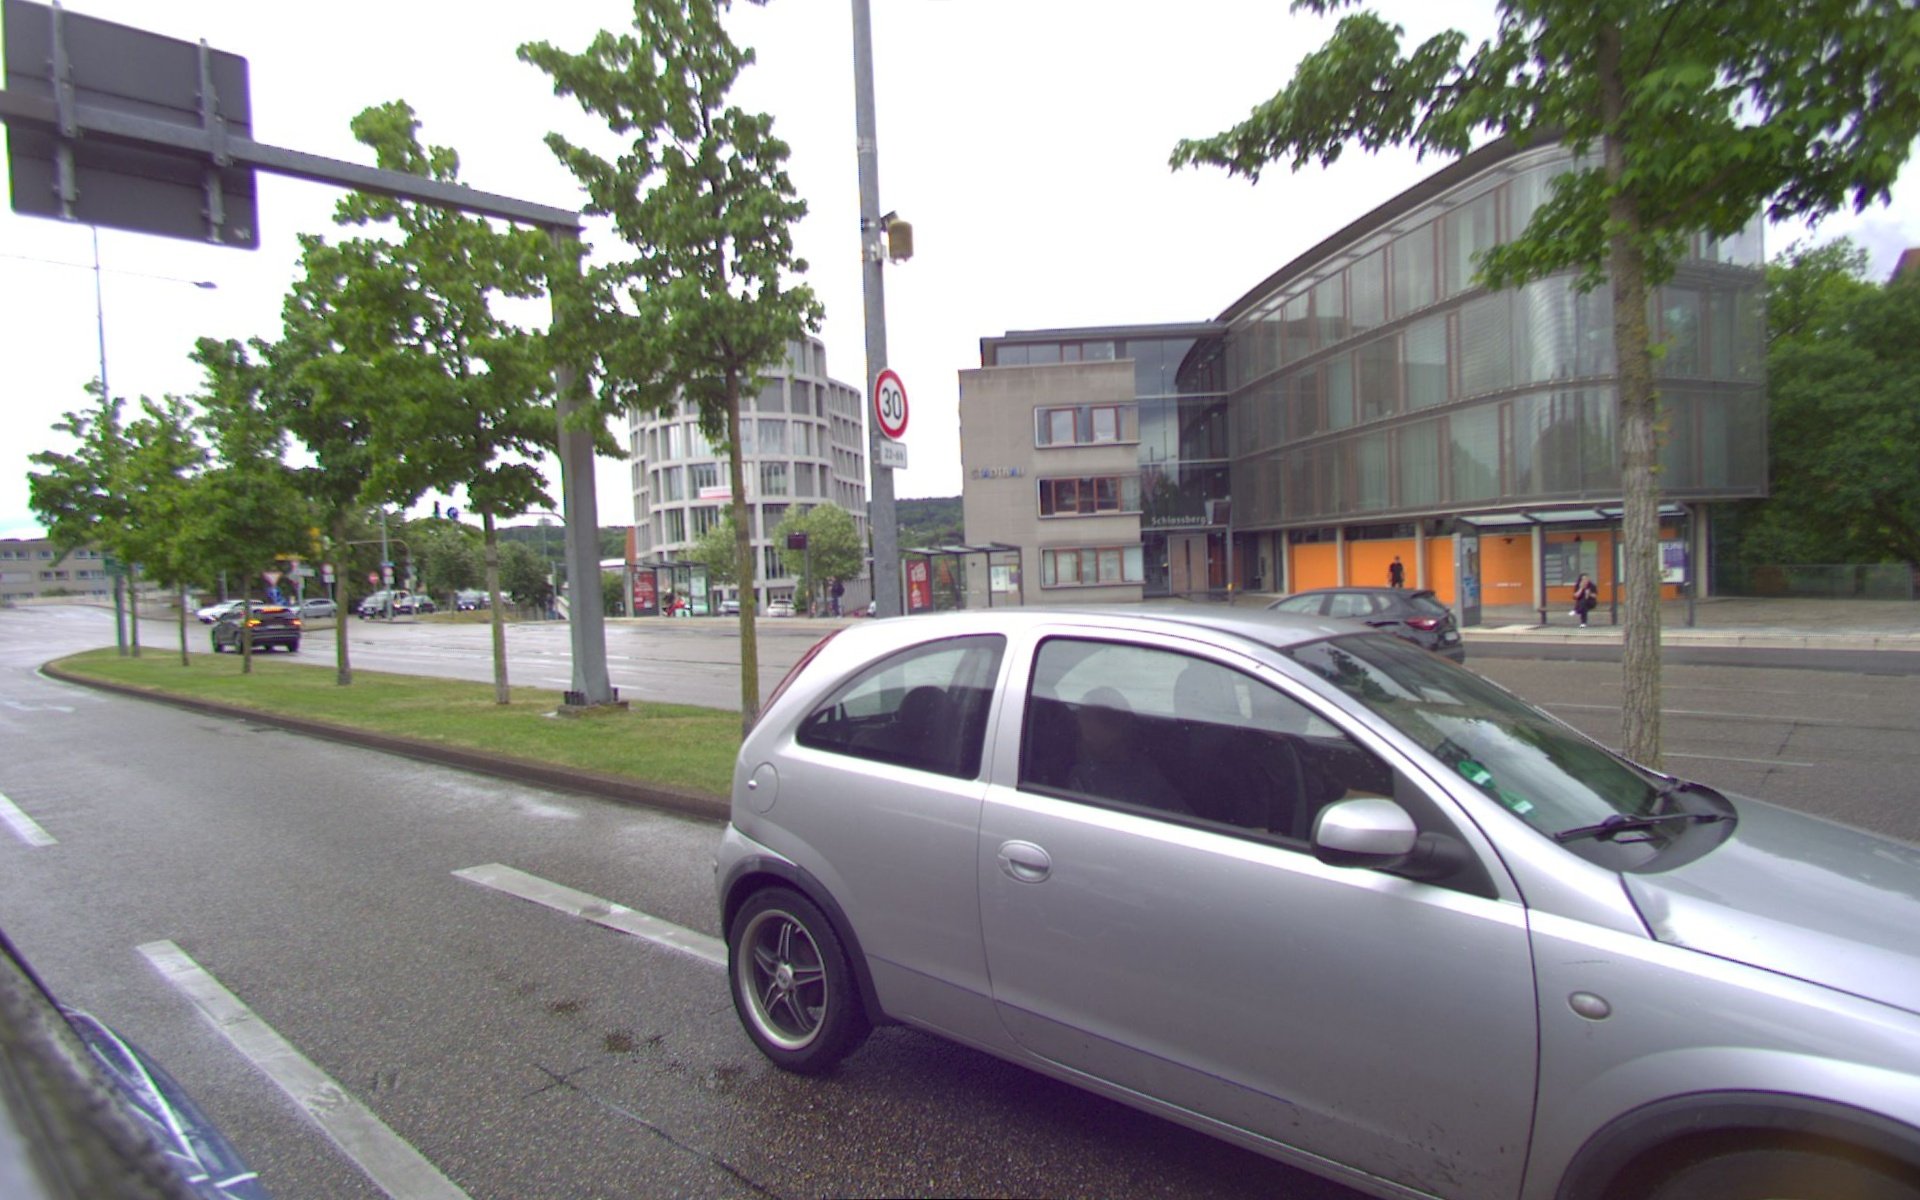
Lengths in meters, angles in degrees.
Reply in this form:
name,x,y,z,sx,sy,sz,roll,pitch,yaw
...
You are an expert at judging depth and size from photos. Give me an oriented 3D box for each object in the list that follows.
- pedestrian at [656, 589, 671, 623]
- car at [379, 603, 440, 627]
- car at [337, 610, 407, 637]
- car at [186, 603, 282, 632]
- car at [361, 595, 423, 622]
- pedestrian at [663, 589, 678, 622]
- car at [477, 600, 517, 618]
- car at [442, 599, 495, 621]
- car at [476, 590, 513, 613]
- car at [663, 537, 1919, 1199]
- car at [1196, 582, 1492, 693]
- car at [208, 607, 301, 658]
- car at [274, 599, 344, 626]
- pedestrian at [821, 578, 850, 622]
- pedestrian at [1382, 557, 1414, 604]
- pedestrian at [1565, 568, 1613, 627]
name,x,y,z,sx,sy,sz,roll,pitch,yaw
pedestrian,-14.739,0.302,50.334,0.501,1.647,0.497,-1,0,41
car,-42.603,1.109,78.461,2.164,1.725,4.919,-1,0,-3
car,-40.980,1.605,70.699,2.164,1.725,4.919,-1,0,-3
car,-48.806,1.152,68.193,2.179,1.725,4.885,-1,0,19
car,-45.465,0.653,81.143,2.276,2.029,5.038,-1,0,-3
pedestrian,-14.568,0.296,50.902,0.535,1.647,0.514,-1,0,41
car,-47.244,0.899,103.323,2.163,1.725,4.922,-1,0,-5
car,-41.026,0.786,84.620,2.164,1.725,4.920,-1,0,-3
car,-43.449,0.136,94.553,1.969,2.029,4.005,-2,0,-6
car,0.976,0.646,2.777,3.732,1.469,1.607,-1,0,40
car,6.053,0.550,16.242,4.078,1.542,1.752,-1,0,42
car,-25.159,1.131,36.040,4.600,1.652,1.802,-1,1,43
car,-47.313,0.875,73.624,1.982,1.807,3.979,-1,0,16
pedestrian,-5.116,0.013,41.581,0.964,1.773,0.783,-1,0,12
pedestrian,15.644,-0.683,36.157,0.697,1.666,0.852,-1,0,-6
pedestrian,14.598,-0.048,23.479,0.790,1.334,0.793,-1,0,42
